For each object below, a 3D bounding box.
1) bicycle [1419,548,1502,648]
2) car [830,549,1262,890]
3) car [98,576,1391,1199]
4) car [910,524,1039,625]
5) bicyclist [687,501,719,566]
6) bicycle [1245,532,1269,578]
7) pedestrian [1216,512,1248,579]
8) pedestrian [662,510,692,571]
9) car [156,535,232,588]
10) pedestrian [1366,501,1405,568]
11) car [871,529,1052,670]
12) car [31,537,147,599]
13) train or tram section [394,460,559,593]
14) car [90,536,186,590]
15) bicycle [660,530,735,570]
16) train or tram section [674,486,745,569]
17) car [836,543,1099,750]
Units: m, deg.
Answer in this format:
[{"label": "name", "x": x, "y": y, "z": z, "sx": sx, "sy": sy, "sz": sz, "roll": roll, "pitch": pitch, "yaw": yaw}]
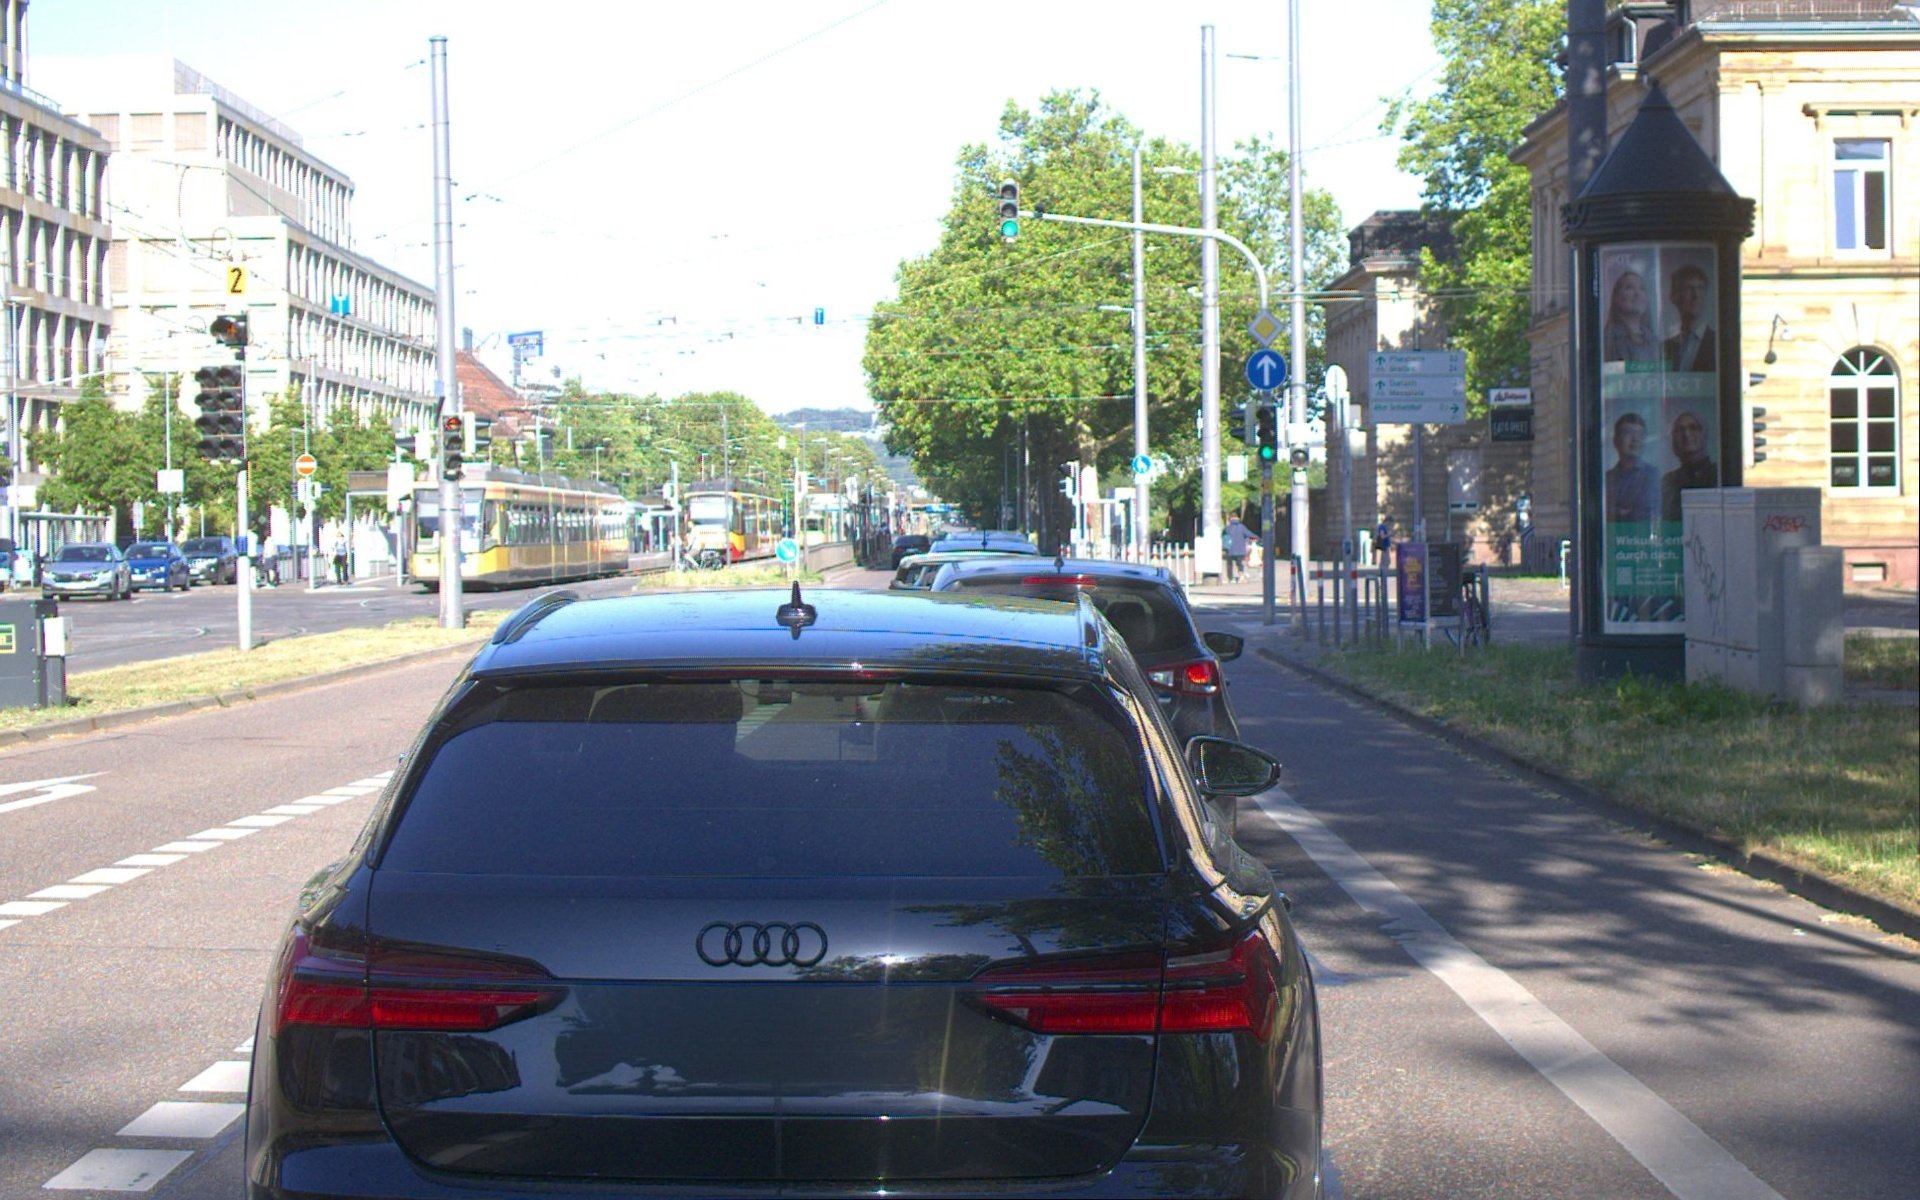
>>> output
[{"label": "bicycle", "x": 5.511, "y": -0.034, "z": 37.933, "sx": 0.540, "sy": 1.058, "sz": 1.772, "roll": -1, "pitch": 1, "yaw": -4}, {"label": "car", "x": 0.391, "y": 0.497, "z": 17.305, "sx": 1.902, "sy": 1.481, "sz": 4.145, "roll": 0, "pitch": 1, "yaw": 0}, {"label": "car", "x": -0.311, "y": 0.689, "z": 7.149, "sx": 1.902, "sy": 1.417, "sz": 4.145, "roll": 0, "pitch": 1, "yaw": 0}, {"label": "car", "x": 0.229, "y": -0.422, "z": 53.111, "sx": 1.902, "sy": 1.481, "sz": 4.145, "roll": 0, "pitch": 1, "yaw": 0}, {"label": "bicyclist", "x": -7.272, "y": -1.888, "z": 97.233, "sx": 0.756, "sy": 1.812, "sz": 0.765, "roll": -1, "pitch": 1, "yaw": -15}, {"label": "bicycle", "x": 7.412, "y": -1.128, "z": 85.746, "sx": 0.434, "sy": 1.141, "sz": 1.340, "roll": -1, "pitch": 1, "yaw": -2}, {"label": "pedestrian", "x": 6.785, "y": -1.352, "z": 85.719, "sx": 0.682, "sy": 1.655, "sz": 0.758, "roll": -1, "pitch": 1, "yaw": -2}, {"label": "pedestrian", "x": -8.118, "y": -1.719, "z": 98.683, "sx": 0.739, "sy": 1.735, "sz": 0.664, "roll": -1, "pitch": 1, "yaw": -13}, {"label": "car", "x": -27.560, "y": -1.401, "z": 123.839, "sx": 1.842, "sy": 1.806, "sz": 4.113, "roll": -1, "pitch": 1, "yaw": -1}, {"label": "pedestrian", "x": 11.995, "y": -1.842, "z": 96.957, "sx": 0.979, "sy": 1.859, "sz": 0.827, "roll": -1, "pitch": 1, "yaw": 1}, {"label": "car", "x": 0.029, "y": -0.044, "z": 38.510, "sx": 1.902, "sy": 1.481, "sz": 4.145, "roll": 0, "pitch": 1, "yaw": 0}, {"label": "car", "x": -21.611, "y": -0.807, "z": 85.484, "sx": 1.820, "sy": 1.452, "sz": 4.541, "roll": -1, "pitch": 1, "yaw": -2}, {"label": "train or tram section", "x": -13.542, "y": -2.084, "z": 97.446, "sx": 2.813, "sy": 3.477, "sz": 13.204, "roll": -1, "pitch": 1, "yaw": 0}, {"label": "car", "x": -23.426, "y": -1.069, "z": 98.103, "sx": 1.820, "sy": 1.452, "sz": 4.157, "roll": -1, "pitch": 1, "yaw": -2}, {"label": "bicycle", "x": -7.420, "y": -1.415, "z": 97.210, "sx": 2.005, "sy": 1.104, "sz": 0.765, "roll": -1, "pitch": 1, "yaw": -15}, {"label": "train or tram section", "x": -10.856, "y": -3.175, "z": 149.708, "sx": 2.608, "sy": 3.439, "sz": 11.134, "roll": -1, "pitch": 1, "yaw": -2}, {"label": "car", "x": 0.065, "y": 0.303, "z": 27.059, "sx": 1.902, "sy": 1.481, "sz": 4.145, "roll": 0, "pitch": 1, "yaw": 0}]
